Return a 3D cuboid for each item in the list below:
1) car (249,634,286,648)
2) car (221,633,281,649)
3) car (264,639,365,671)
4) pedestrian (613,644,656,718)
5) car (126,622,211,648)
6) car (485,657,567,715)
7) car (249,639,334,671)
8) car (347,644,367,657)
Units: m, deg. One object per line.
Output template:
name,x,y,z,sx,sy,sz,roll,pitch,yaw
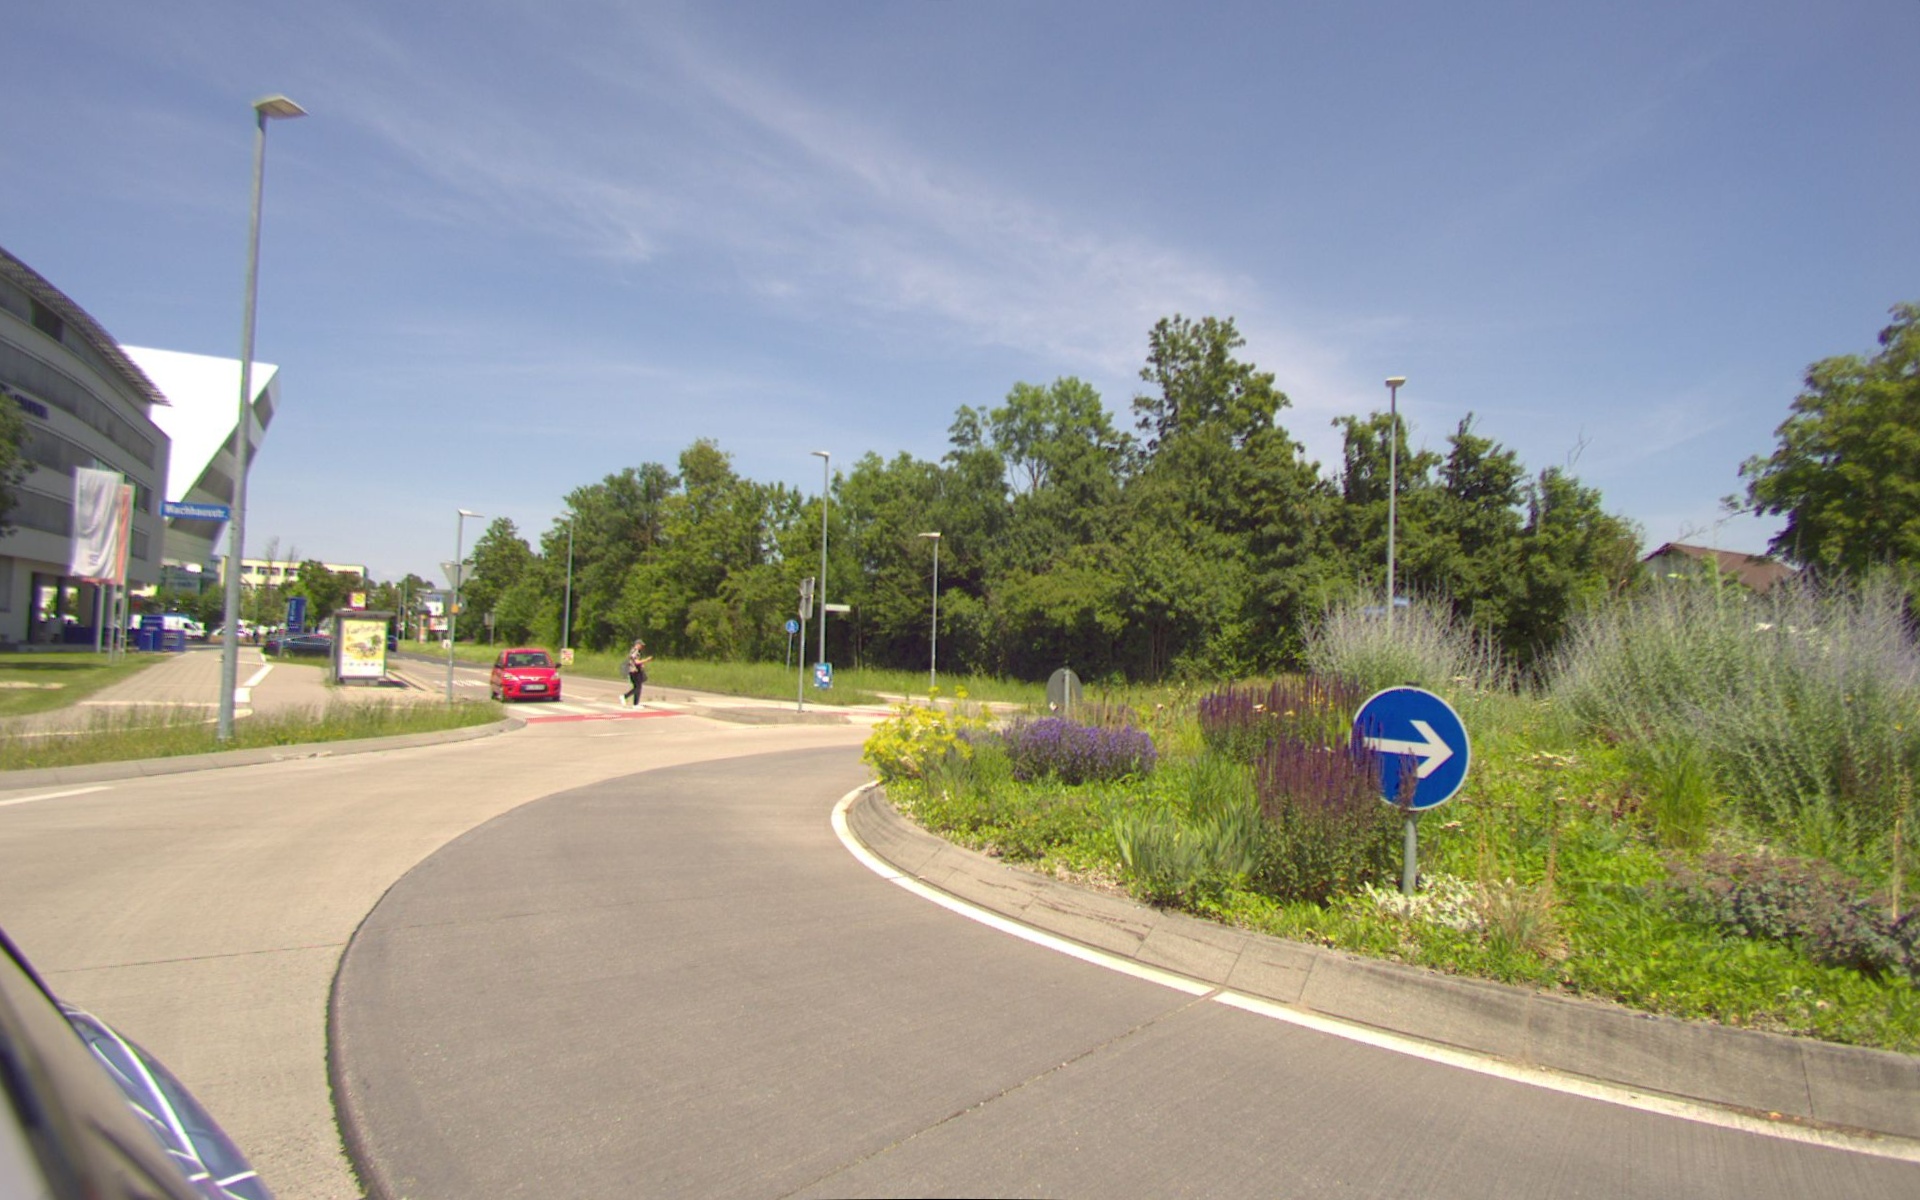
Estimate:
car,-98.159,5.791,143.462,4.136,1.991,1.709,2,-3,-28
car,-96.410,5.575,137.673,6.388,2.166,2.171,2,-3,-28
car,-35.903,3.058,56.339,4.507,1.443,1.832,7,-5,-36
pedestrian,-8.353,2.076,25.951,0.698,1.836,0.828,6,-5,-34
car,-86.634,3.885,110.897,6.850,2.683,2.262,2,-3,-26
car,-12.781,2.475,29.723,1.635,1.515,3.366,3,-3,-33
car,-38.311,3.145,58.115,3.932,1.668,1.844,4,-4,-32
car,-75.173,6.257,126.086,1.752,1.608,4.009,3,-3,-36
